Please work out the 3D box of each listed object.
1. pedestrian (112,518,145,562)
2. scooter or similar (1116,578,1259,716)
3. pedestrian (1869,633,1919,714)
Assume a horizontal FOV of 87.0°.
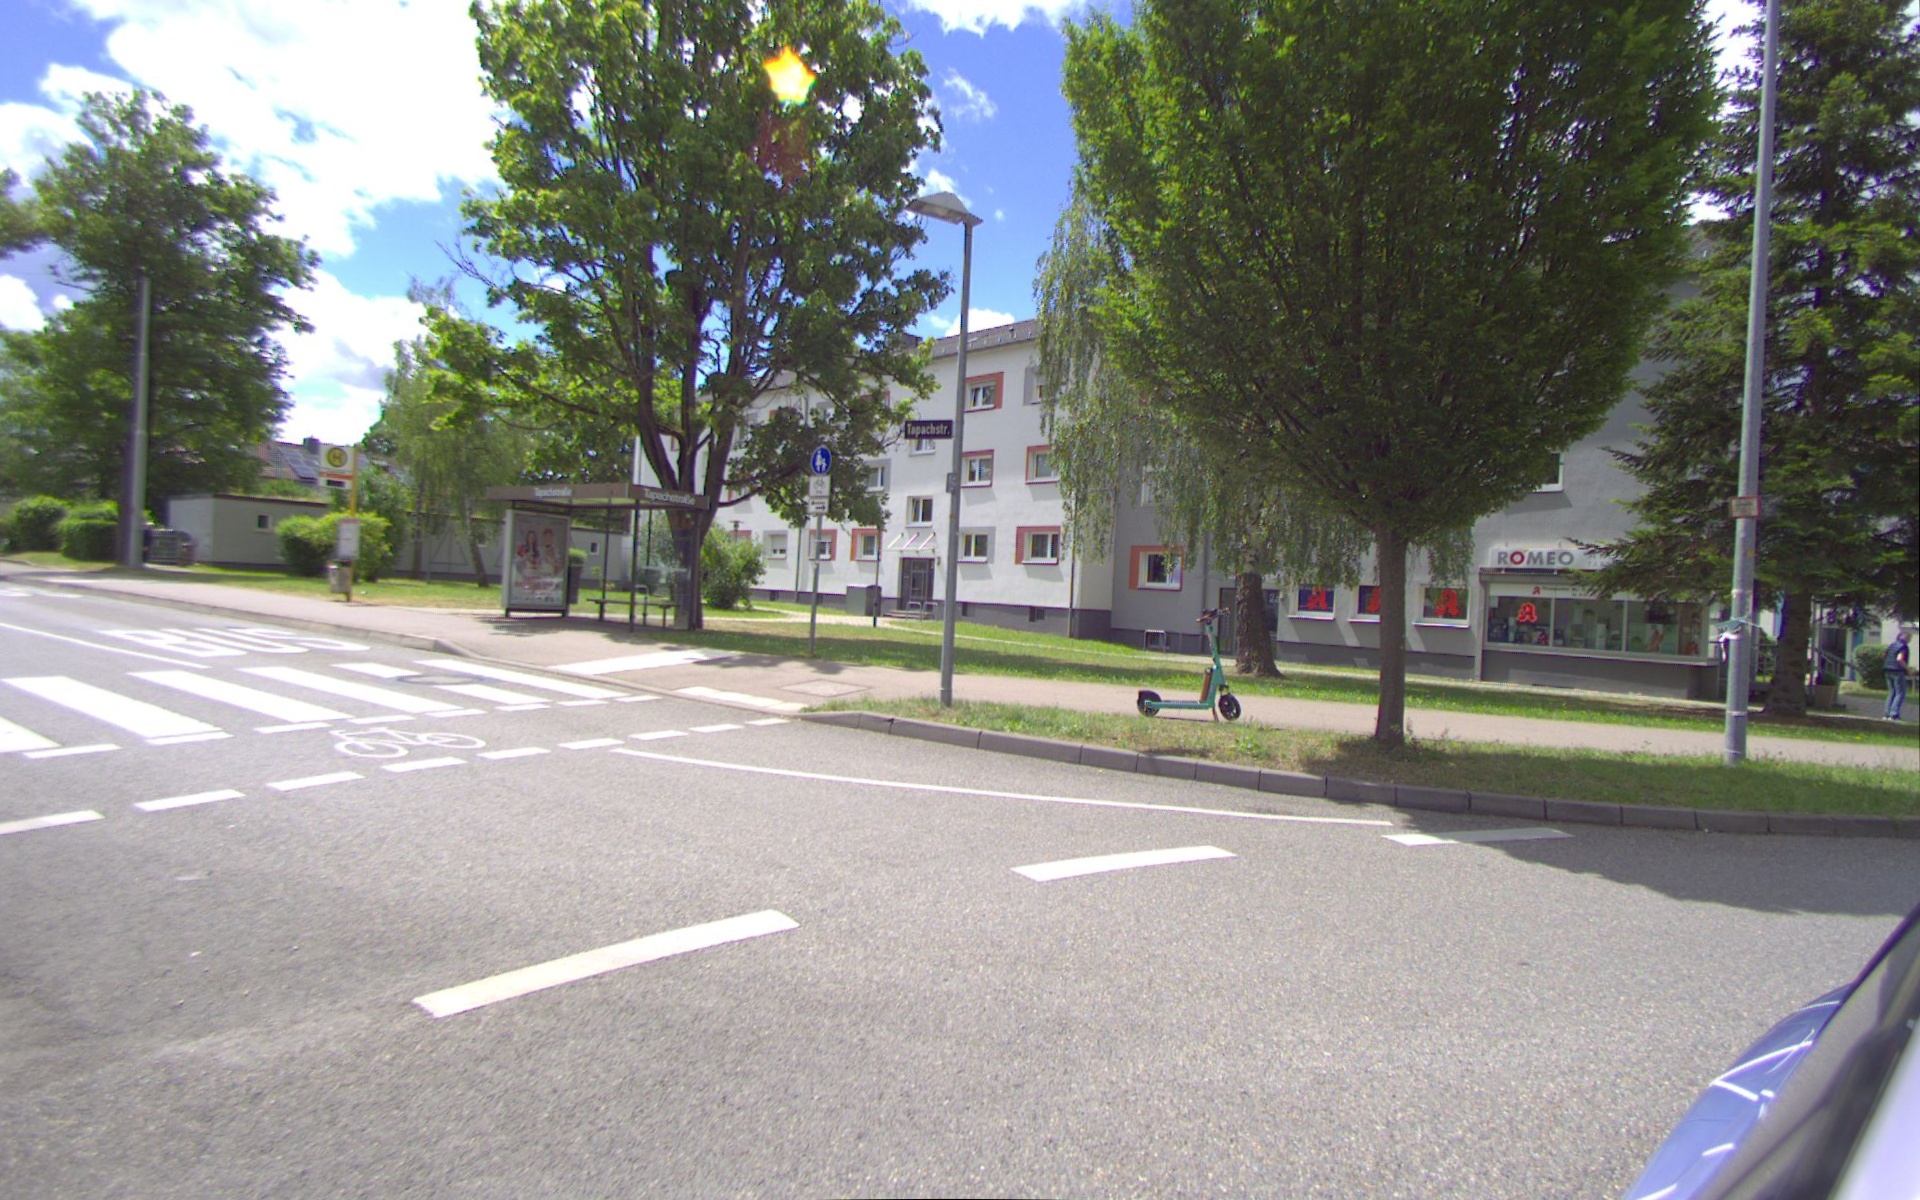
[{"bbox_3d":[-31.970,-2.301,38.918,0.888,1.601,0.659,3,1,-44],"label":"pedestrian"},{"bbox_3d":[2.453,0.495,11.011,1.364,1.359,0.485,4,1,6],"label":"scooter or similar"},{"bbox_3d":[19.167,1.486,20.666,0.679,1.548,0.743,3,1,-41],"label":"pedestrian"}]
